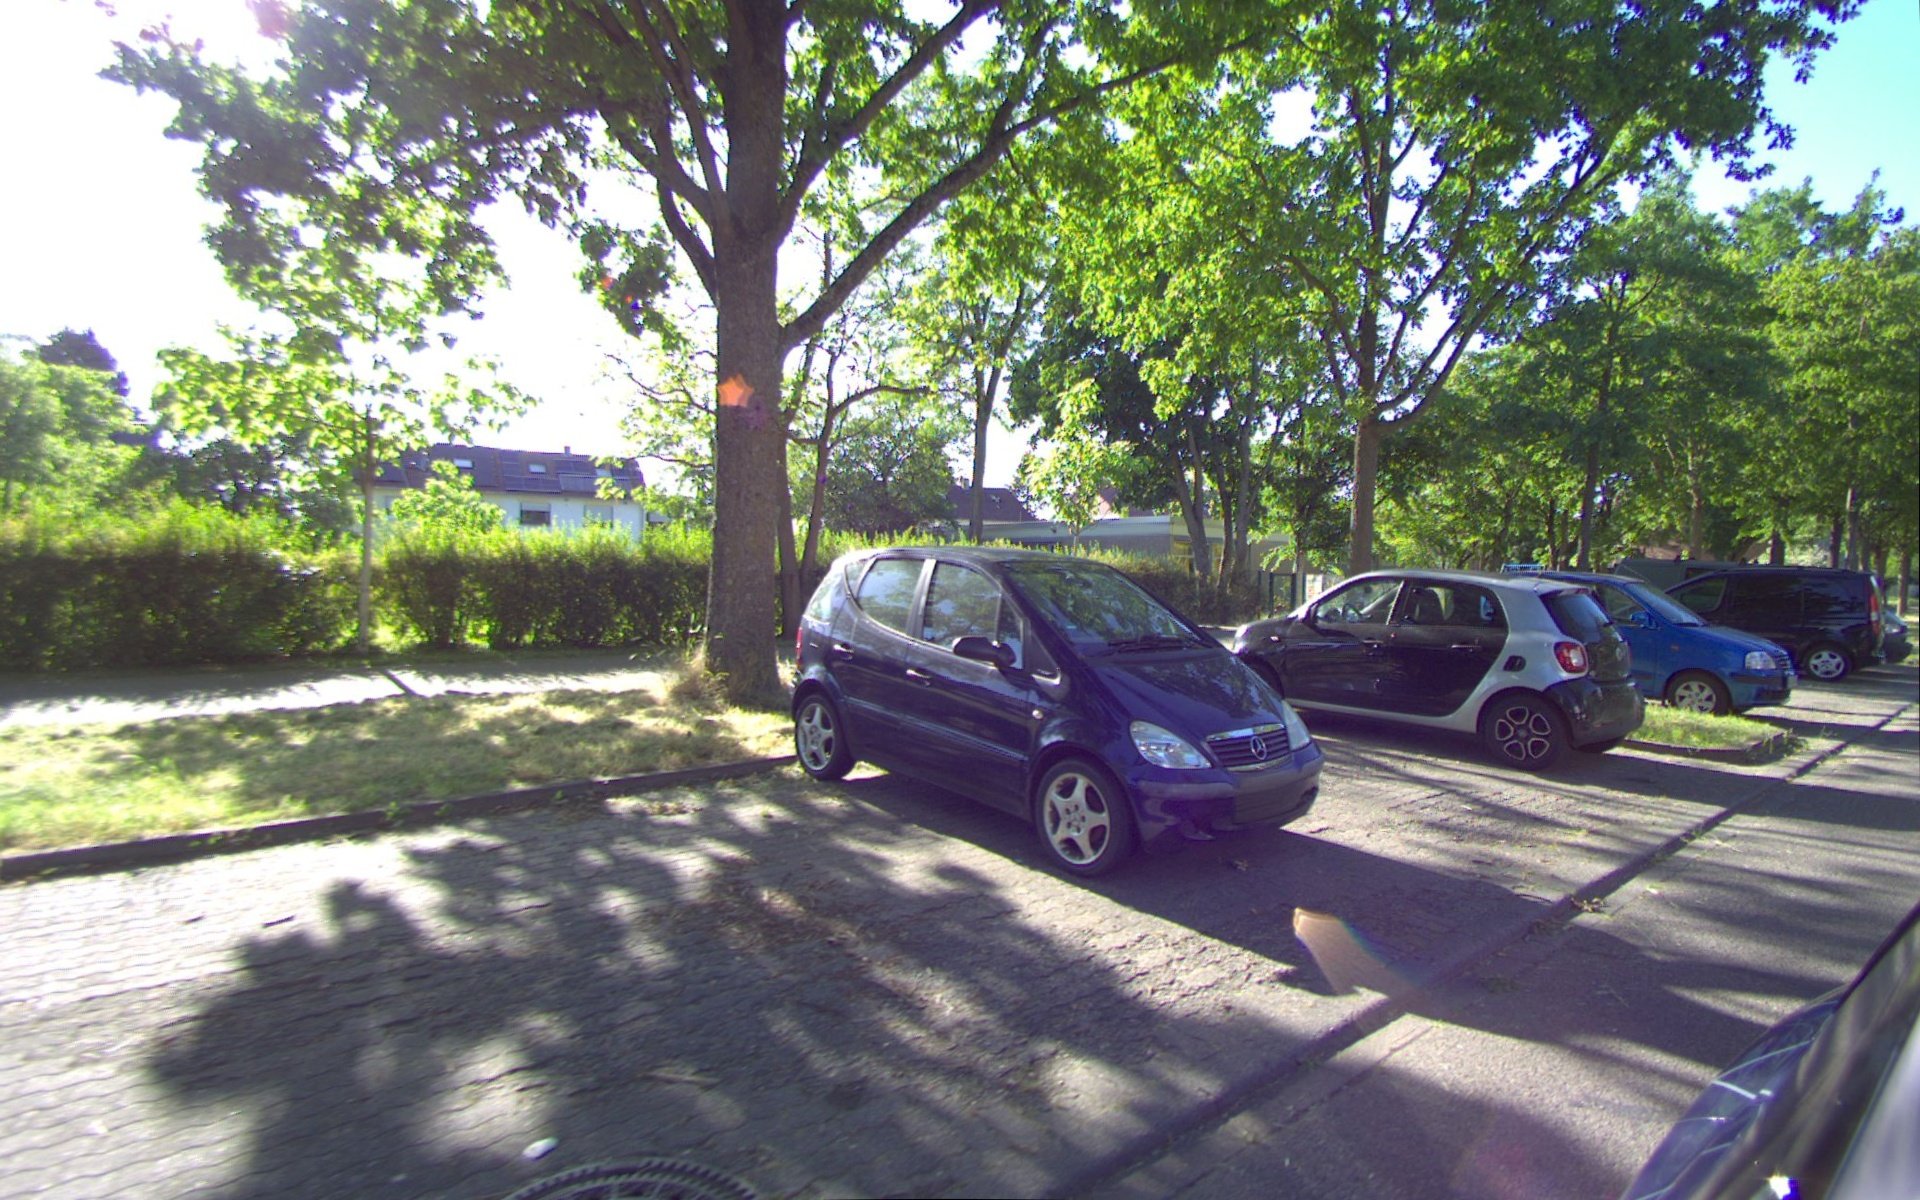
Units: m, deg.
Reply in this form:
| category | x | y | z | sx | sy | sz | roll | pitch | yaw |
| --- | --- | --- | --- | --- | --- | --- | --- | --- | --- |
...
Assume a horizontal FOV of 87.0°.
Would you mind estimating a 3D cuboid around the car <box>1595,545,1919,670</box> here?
| category | x | y | z | sx | sy | sz | roll | pitch | yaw |
| --- | --- | --- | --- | --- | --- | --- | --- | --- | --- |
| car | 15.150 | 0.020 | 19.259 | 1.910 | 2.056 | 4.813 | -1 | 3 | -41 |

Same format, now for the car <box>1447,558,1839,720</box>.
| category | x | y | z | sx | sy | sz | roll | pitch | yaw |
| --- | --- | --- | --- | --- | --- | --- | --- | --- | --- |
| car | 8.004 | 0.326 | 12.111 | 1.635 | 1.550 | 3.530 | -1 | 4 | -39 |

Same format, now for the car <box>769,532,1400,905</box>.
| category | x | y | z | sx | sy | sz | roll | pitch | yaw |
| --- | --- | --- | --- | --- | --- | --- | --- | --- | --- |
| car | 0.538 | 0.410 | 6.321 | 1.825 | 1.595 | 3.590 | -1 | 4 | -41 |

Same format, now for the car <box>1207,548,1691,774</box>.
| category | x | y | z | sx | sy | sz | roll | pitch | yaw |
| --- | --- | --- | --- | --- | --- | --- | --- | --- | --- |
| car | 4.316 | 0.369 | 9.360 | 1.754 | 1.595 | 3.593 | -1 | 4 | -39 |

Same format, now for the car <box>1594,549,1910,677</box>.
| category | x | y | z | sx | sy | sz | roll | pitch | yaw |
| --- | --- | --- | --- | --- | --- | --- | --- | --- | --- |
| car | 13.522 | 0.110 | 17.458 | 1.769 | 1.859 | 4.014 | -1 | 4 | -43 |
